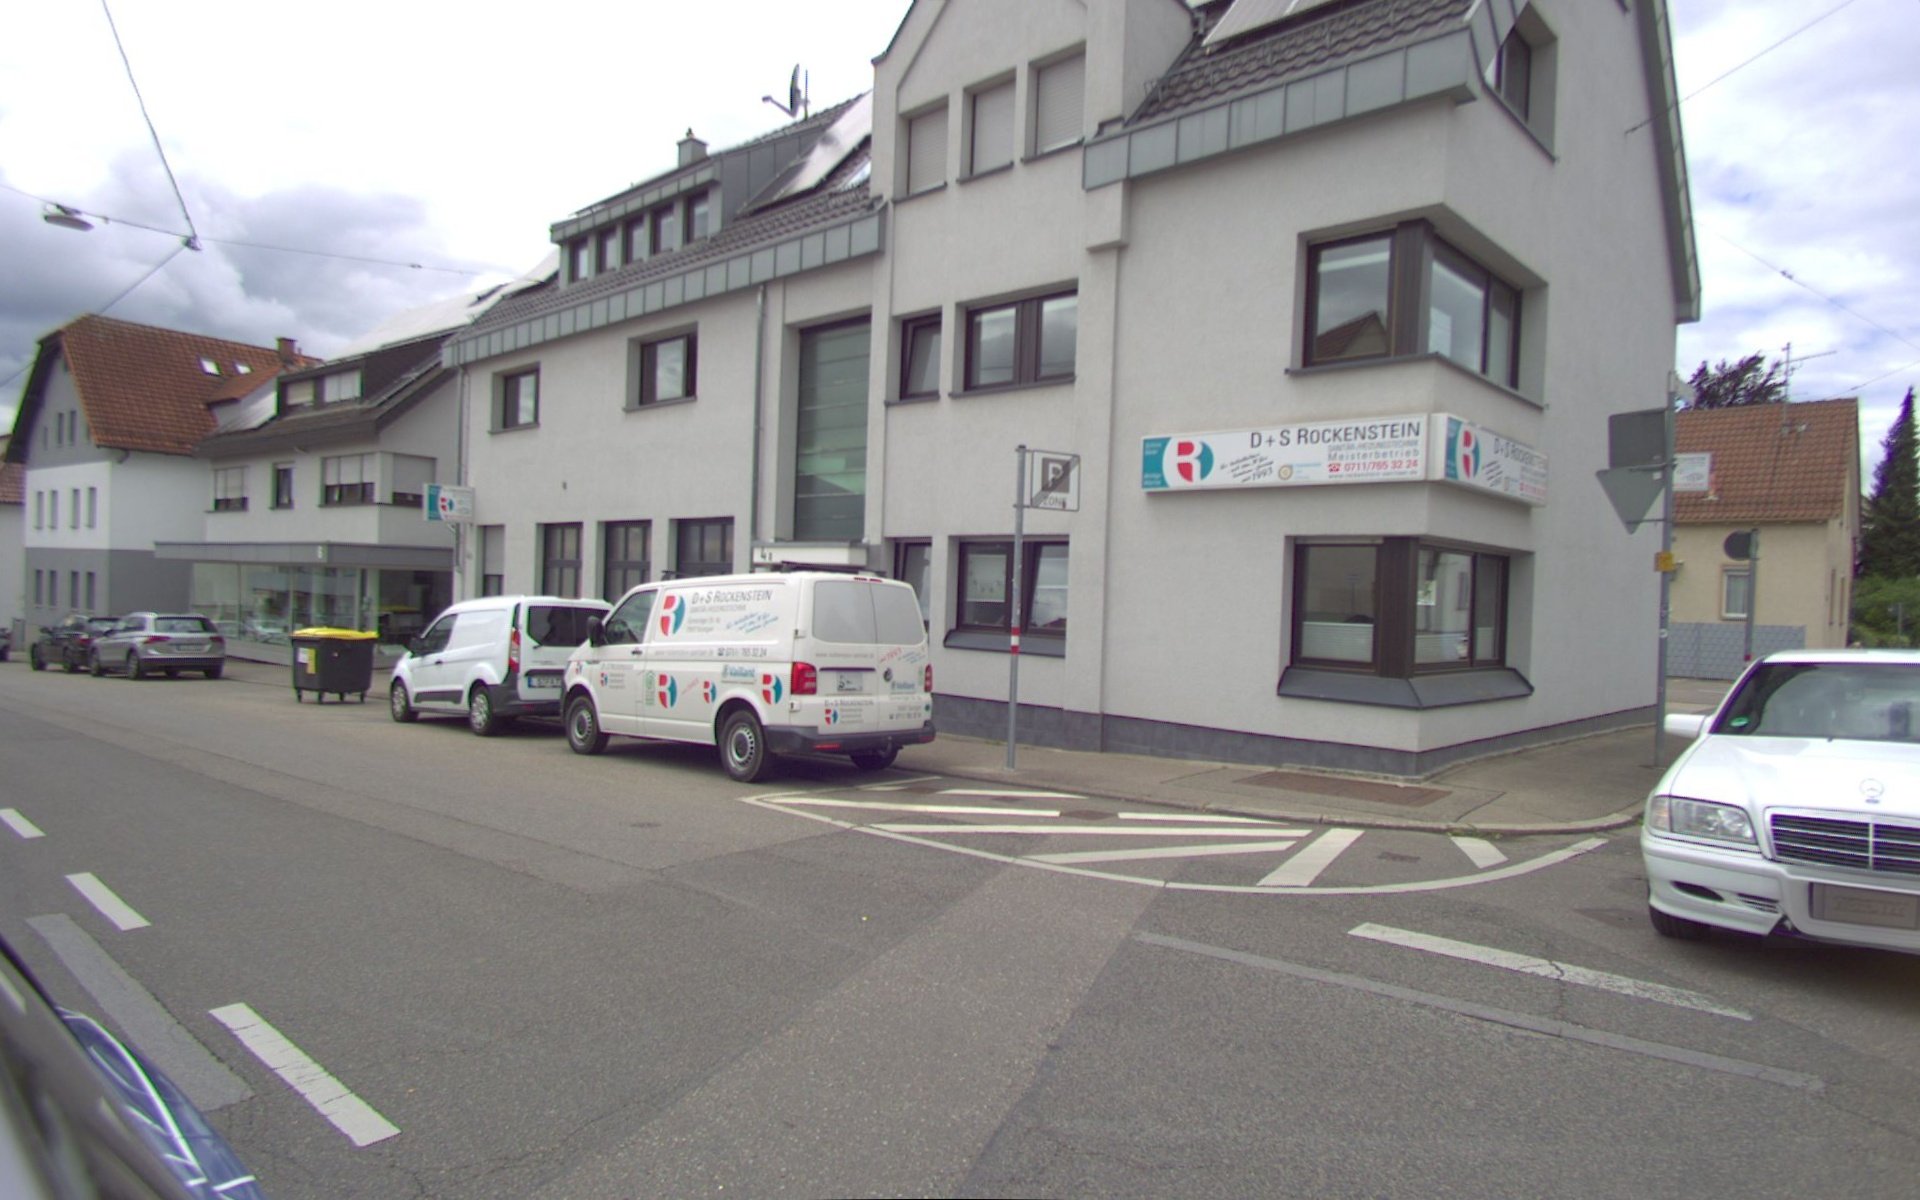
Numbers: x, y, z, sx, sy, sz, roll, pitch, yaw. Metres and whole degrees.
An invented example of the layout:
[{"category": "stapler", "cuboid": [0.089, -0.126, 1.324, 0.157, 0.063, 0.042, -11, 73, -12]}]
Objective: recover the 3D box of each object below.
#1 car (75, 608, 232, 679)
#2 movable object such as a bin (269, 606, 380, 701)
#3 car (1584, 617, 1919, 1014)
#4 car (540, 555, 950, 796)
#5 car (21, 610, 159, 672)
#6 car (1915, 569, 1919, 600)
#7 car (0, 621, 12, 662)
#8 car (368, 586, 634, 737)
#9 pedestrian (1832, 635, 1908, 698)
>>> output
[{"category": "car", "cuboid": [-20.440, 1.061, 25.609, 4.396, 1.645, 1.822, -1, -2, 34]}, {"category": "movable object such as a bin", "cuboid": [-11.528, 0.945, 18.370, 1.559, 1.645, 1.131, -1, -2, 34]}, {"category": "car", "cuboid": [5.179, 0.886, 5.282, 4.496, 1.456, 2.003, 3, -3, -41]}, {"category": "car", "cuboid": [-2.473, 0.701, 10.789, 4.762, 2.021, 1.792, -1, -3, 42]}, {"category": "car", "cuboid": [-24.819, 1.152, 28.835, 4.396, 1.645, 1.822, -1, -3, 34]}, {"category": "car", "cuboid": [64.917, -1.038, 67.213, 3.940, 2.029, 2.002, -2, 1, -44]}, {"category": "car", "cuboid": [-36.305, 1.476, 36.661, 4.455, 1.456, 1.822, -1, -3, 34]}, {"category": "car", "cuboid": [-6.655, 0.815, 14.469, 4.294, 1.846, 1.716, -1, -3, 40]}, {"category": "pedestrian", "cuboid": [24.769, 1.795, 27.557, 1.276, 1.599, 1.060, 3, 0, -25]}]
